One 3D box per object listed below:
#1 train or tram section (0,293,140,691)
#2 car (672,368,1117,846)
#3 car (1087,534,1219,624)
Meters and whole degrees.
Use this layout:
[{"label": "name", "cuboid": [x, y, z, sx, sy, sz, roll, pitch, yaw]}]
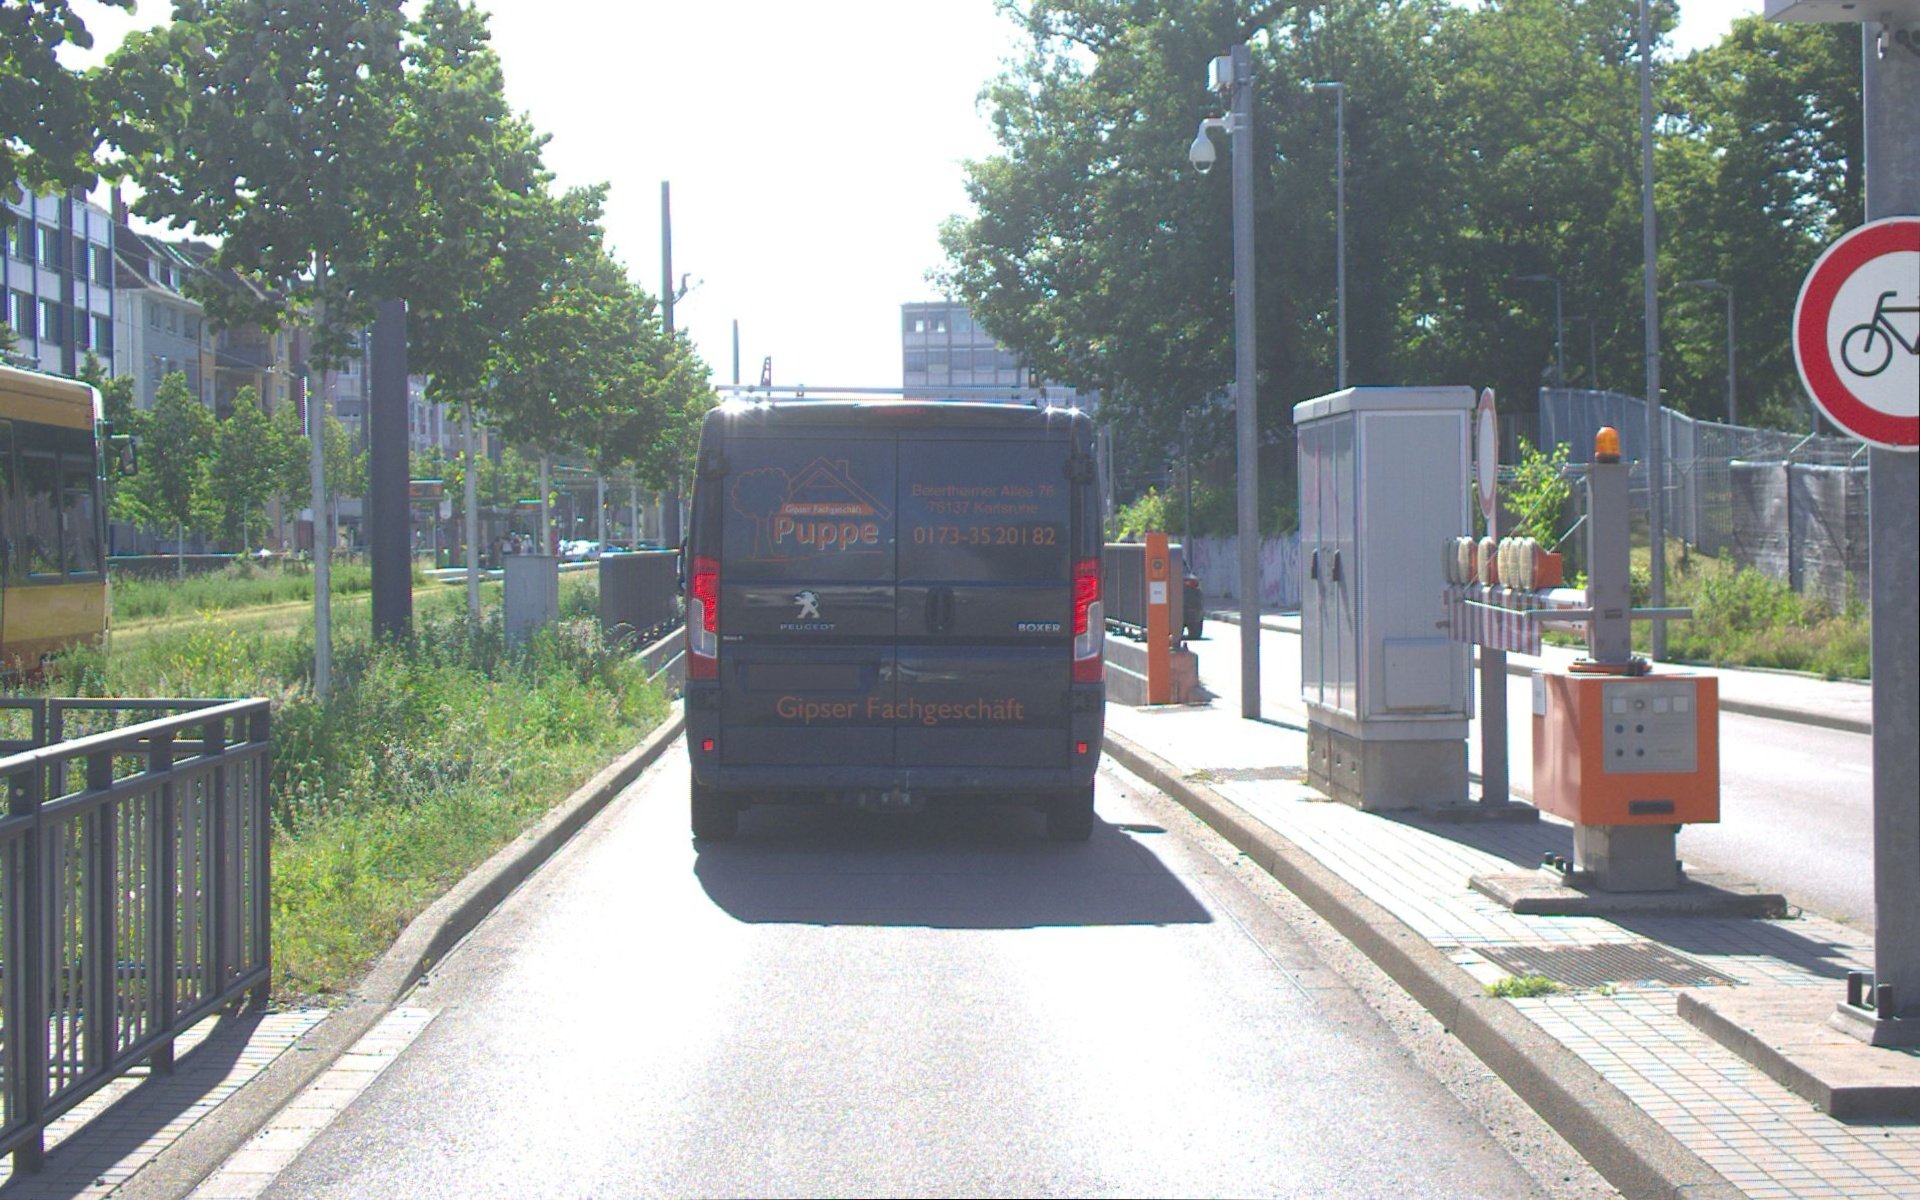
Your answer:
[{"label": "train or tram section", "cuboid": [-9.822, -0.994, 31.633, 1.993, 3.656, 11.685, 0, 1, -1]}, {"label": "car", "cuboid": [-0.373, -0.001, 18.179, 2.082, 2.241, 4.000, 0, 1, -2]}, {"label": "car", "cuboid": [3.203, -0.384, 57.828, 1.763, 1.457, 4.001, 0, 1, -3]}]
